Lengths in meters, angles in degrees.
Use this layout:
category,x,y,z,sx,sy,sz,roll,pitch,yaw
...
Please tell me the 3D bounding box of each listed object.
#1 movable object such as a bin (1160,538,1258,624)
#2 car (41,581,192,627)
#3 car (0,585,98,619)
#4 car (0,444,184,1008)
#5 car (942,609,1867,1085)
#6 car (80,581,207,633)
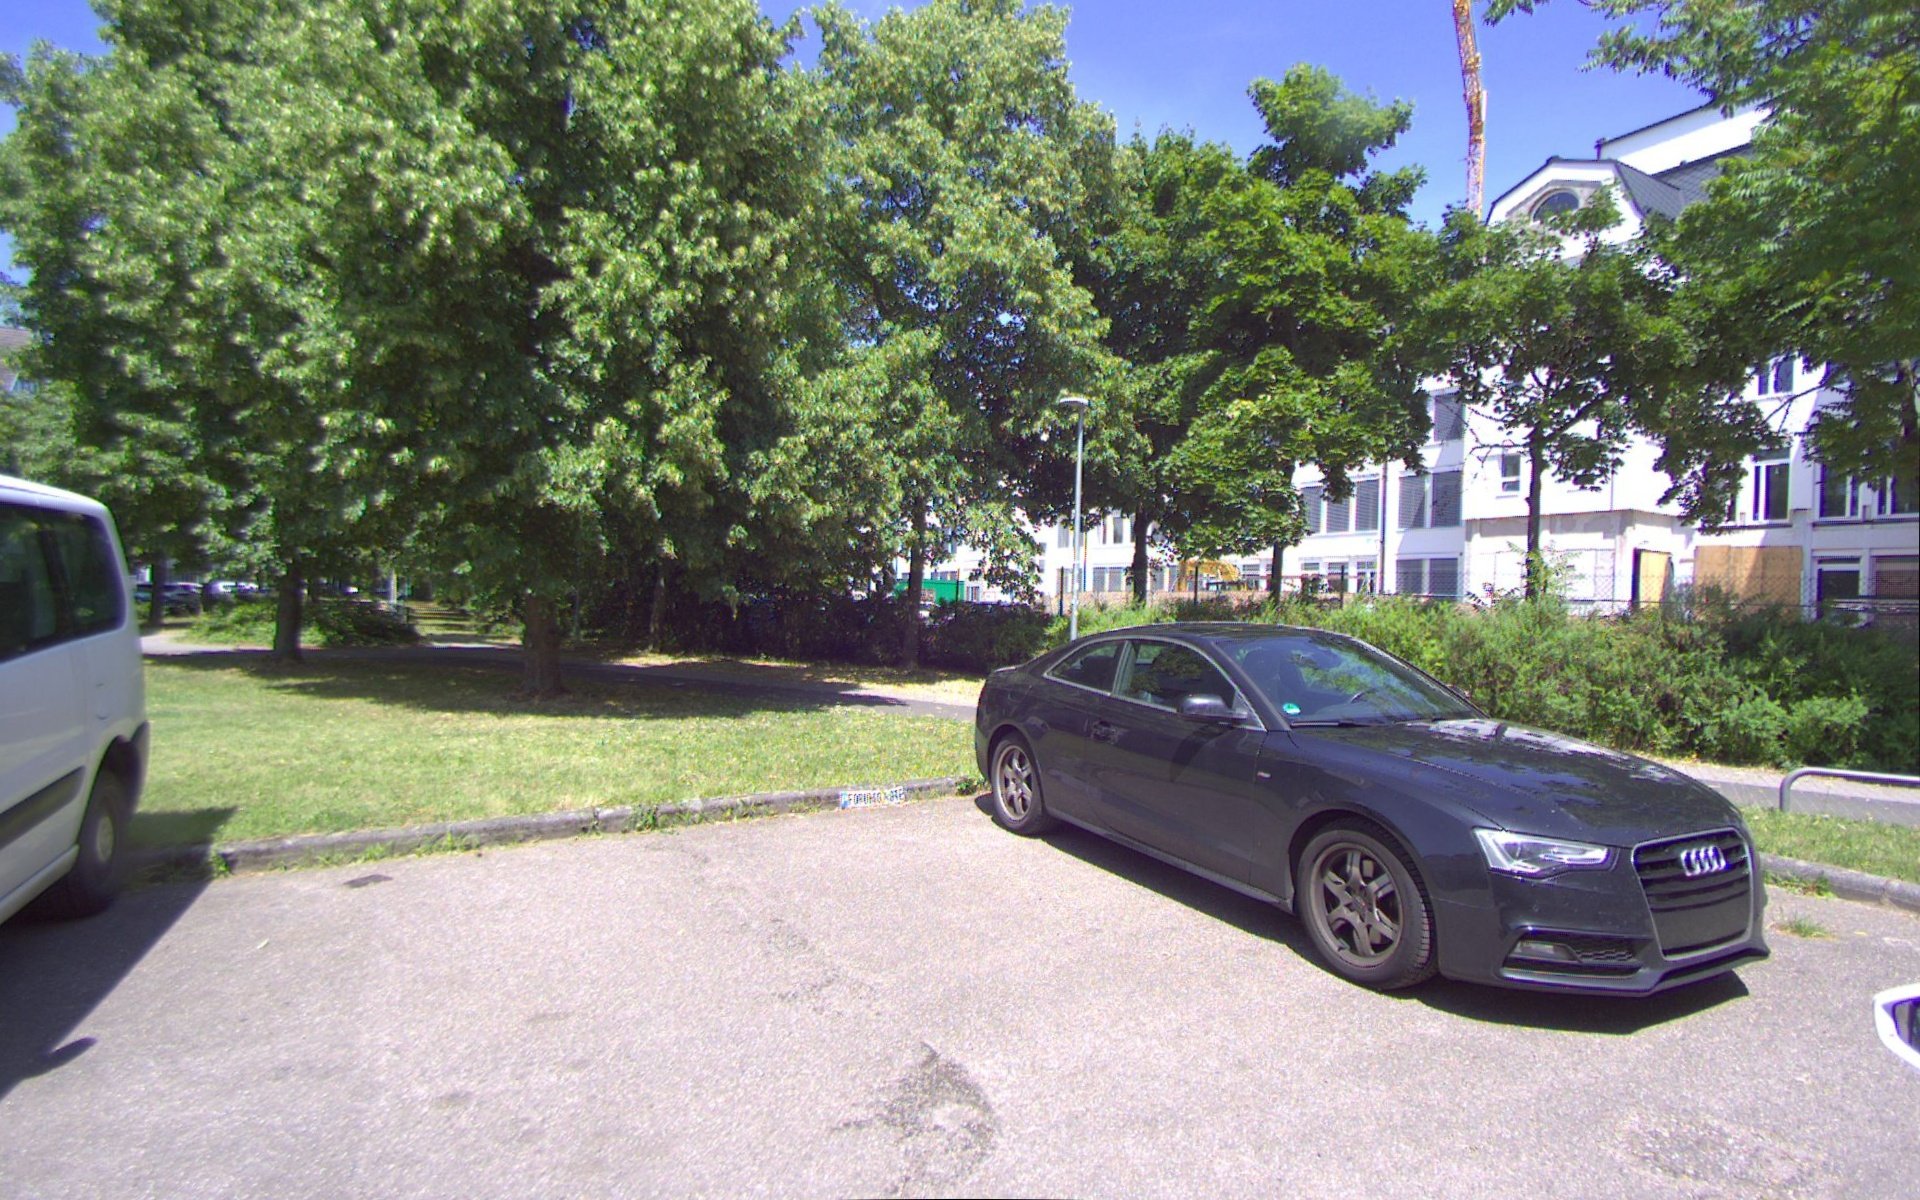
category,x,y,z,sx,sy,sz,roll,pitch,yaw
movable object such as a bin,13.598,-0.997,55.295,1.974,4.430,5.686,2,-1,-25
car,-33.462,0.182,40.026,4.294,1.631,1.917,3,-1,-32
car,-49.691,0.112,54.713,3.852,1.652,1.521,3,-1,-32
car,-4.101,0.402,2.867,2.041,1.908,4.829,3,-1,-27
car,1.755,0.785,5.534,1.998,1.398,4.413,0,0,-27
car,-35.147,0.303,43.386,3.956,2.040,1.983,3,-1,-32
